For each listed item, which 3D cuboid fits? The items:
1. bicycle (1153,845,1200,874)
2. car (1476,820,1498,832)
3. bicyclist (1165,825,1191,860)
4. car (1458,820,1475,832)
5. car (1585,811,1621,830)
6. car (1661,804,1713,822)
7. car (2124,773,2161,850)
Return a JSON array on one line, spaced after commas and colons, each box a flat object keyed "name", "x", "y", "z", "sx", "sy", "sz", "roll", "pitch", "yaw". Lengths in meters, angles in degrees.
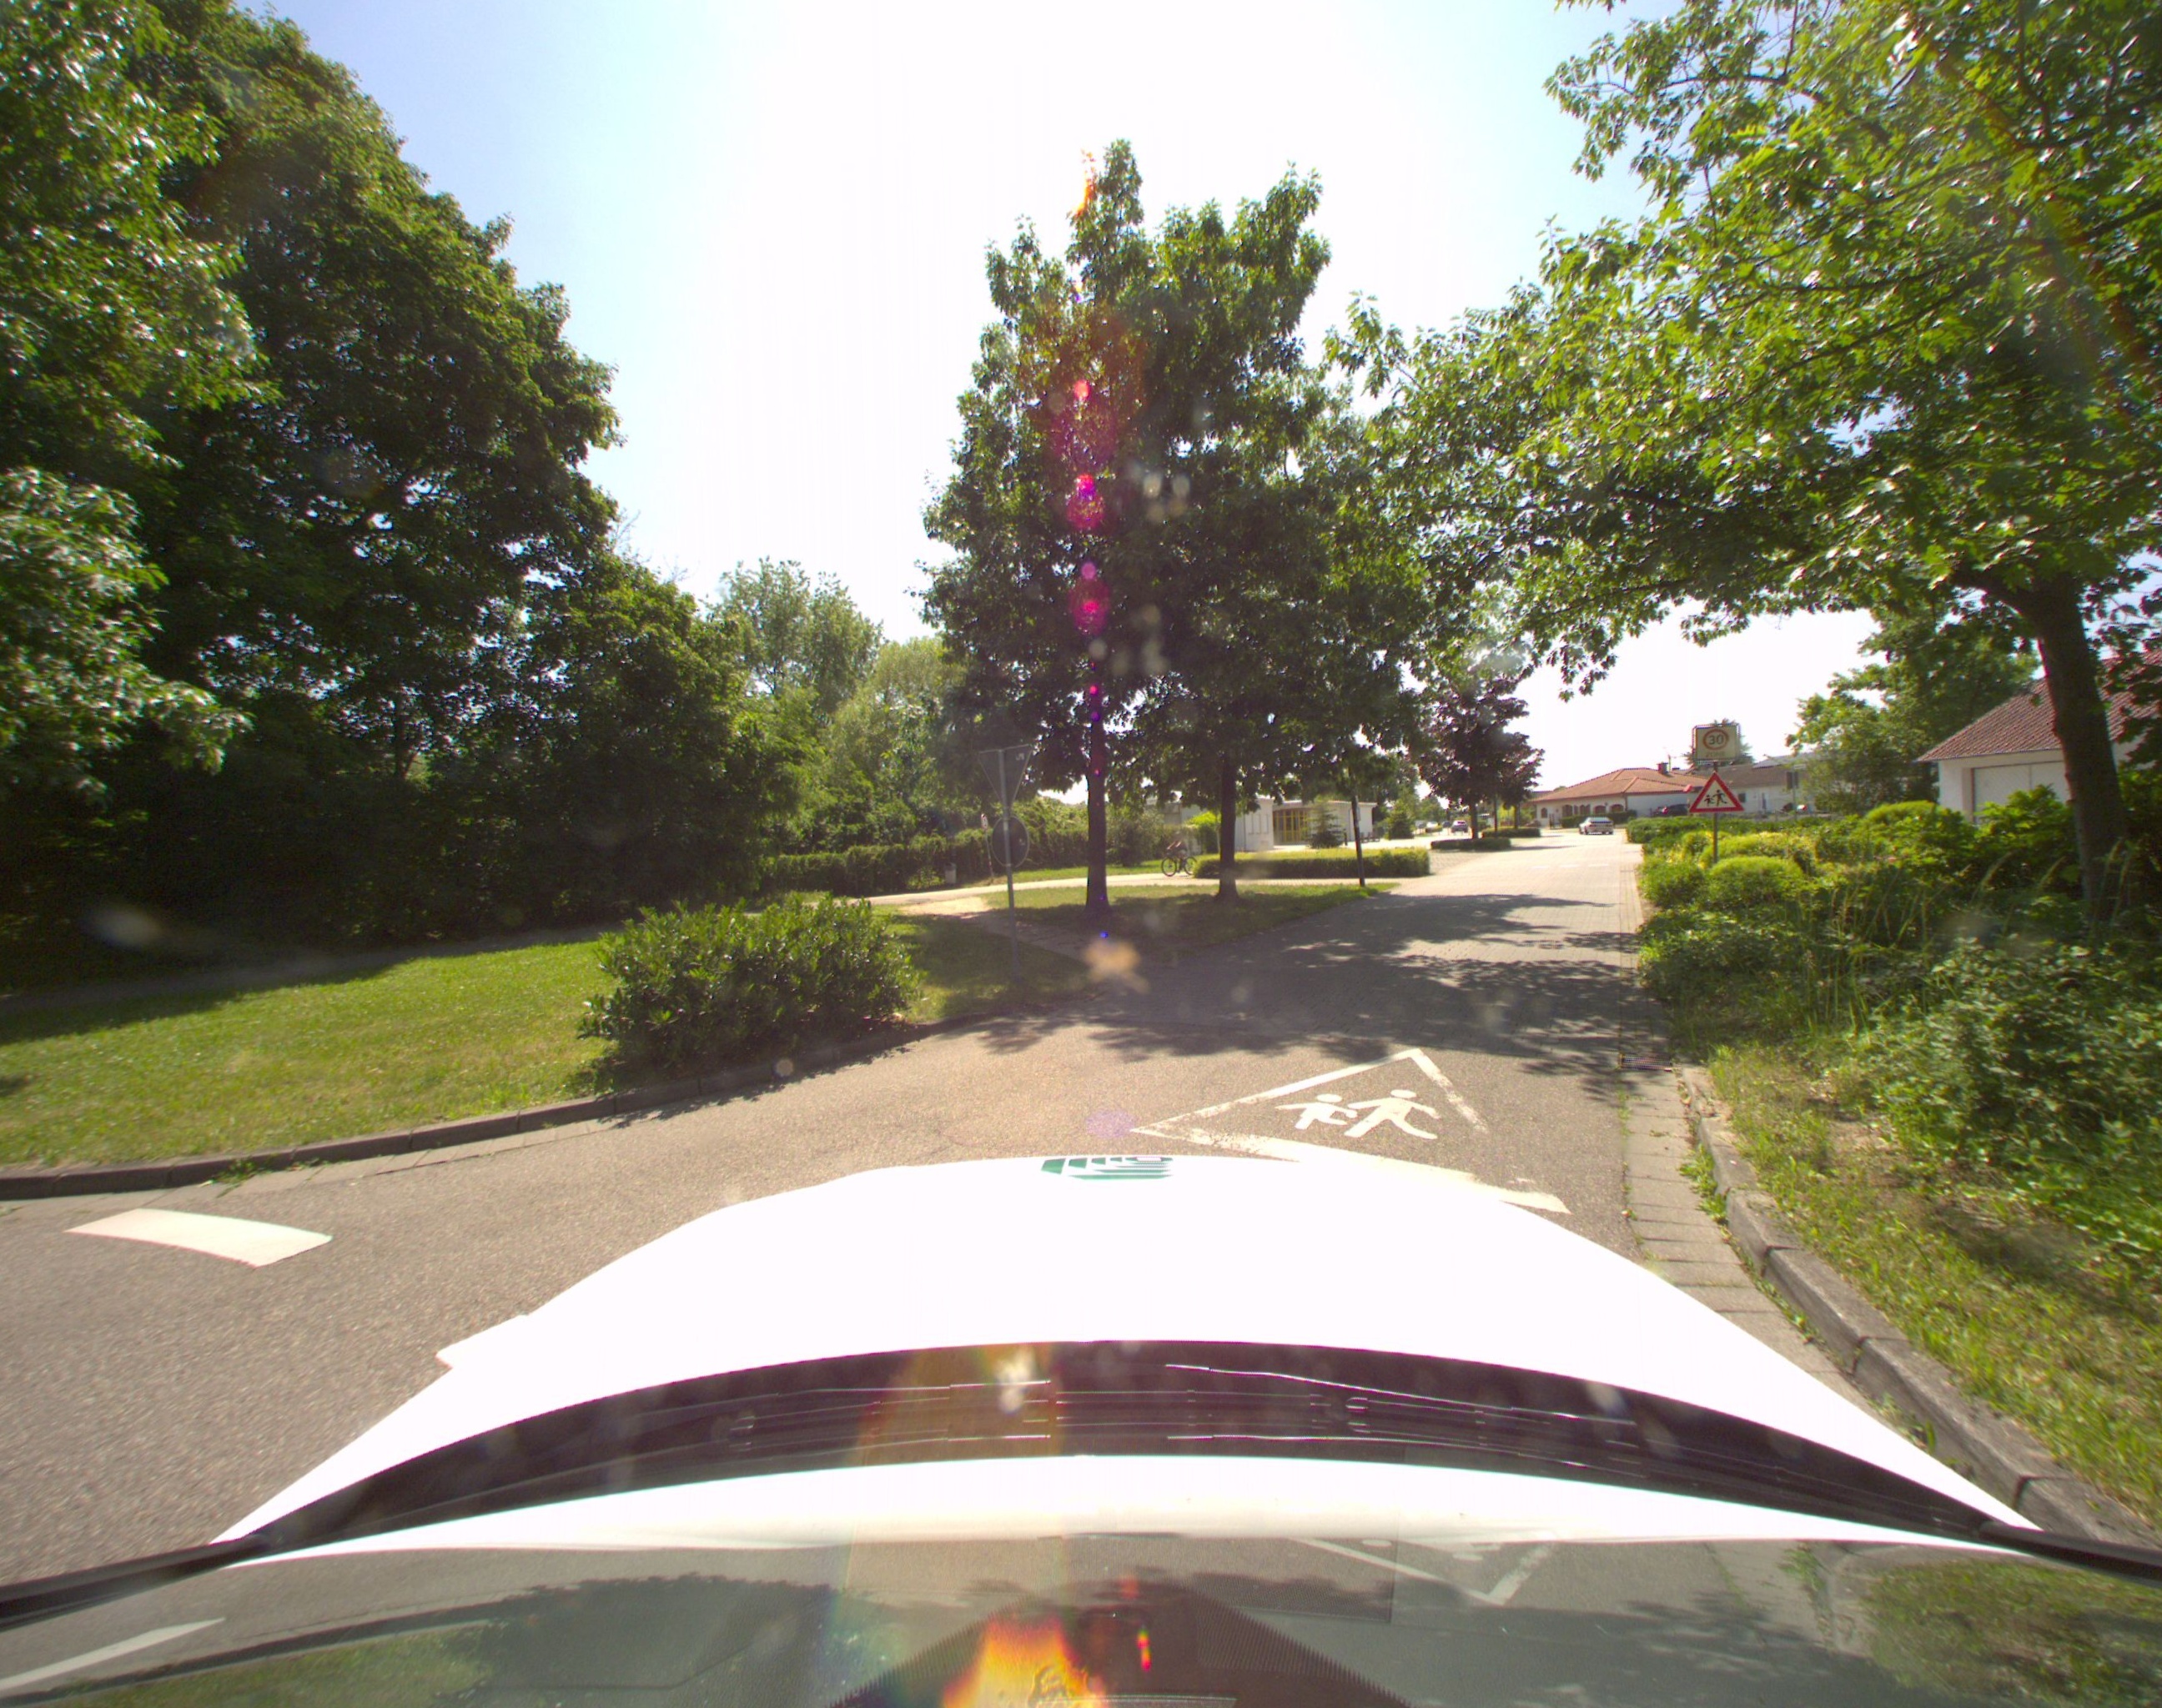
[{"name": "bicycle", "x": 3.355, "y": 0.180, "z": 28.592, "sx": 1.628, "sy": 0.929, "sz": 0.592, "roll": -4, "pitch": 1, "yaw": -37}, {"name": "car", "x": 47.143, "y": -3.266, "z": 94.689, "sx": 1.976, "sy": 1.288, "sz": 4.023, "roll": -2, "pitch": 1, "yaw": 23}, {"name": "bicyclist", "x": 3.410, "y": -0.398, "z": 28.650, "sx": 0.651, "sy": 1.164, "sz": 0.592, "roll": -4, "pitch": 1, "yaw": -36}, {"name": "car", "x": 45.463, "y": -3.271, "z": 96.120, "sx": 1.600, "sy": 1.288, "sz": 3.577, "roll": -2, "pitch": 1, "yaw": 23}, {"name": "car", "x": 37.911, "y": -2.439, "z": 59.223, "sx": 1.600, "sy": 1.288, "sz": 3.577, "roll": -2, "pitch": 1, "yaw": 24}, {"name": "car", "x": 58.372, "y": -3.925, "z": 78.463, "sx": 3.824, "sy": 1.542, "sz": 1.848, "roll": -3, "pitch": 1, "yaw": -10}, {"name": "car", "x": 23.135, "y": -0.885, "z": 15.472, "sx": 1.653, "sy": 1.601, "sz": 4.033, "roll": -3, "pitch": 1, "yaw": 5}]
